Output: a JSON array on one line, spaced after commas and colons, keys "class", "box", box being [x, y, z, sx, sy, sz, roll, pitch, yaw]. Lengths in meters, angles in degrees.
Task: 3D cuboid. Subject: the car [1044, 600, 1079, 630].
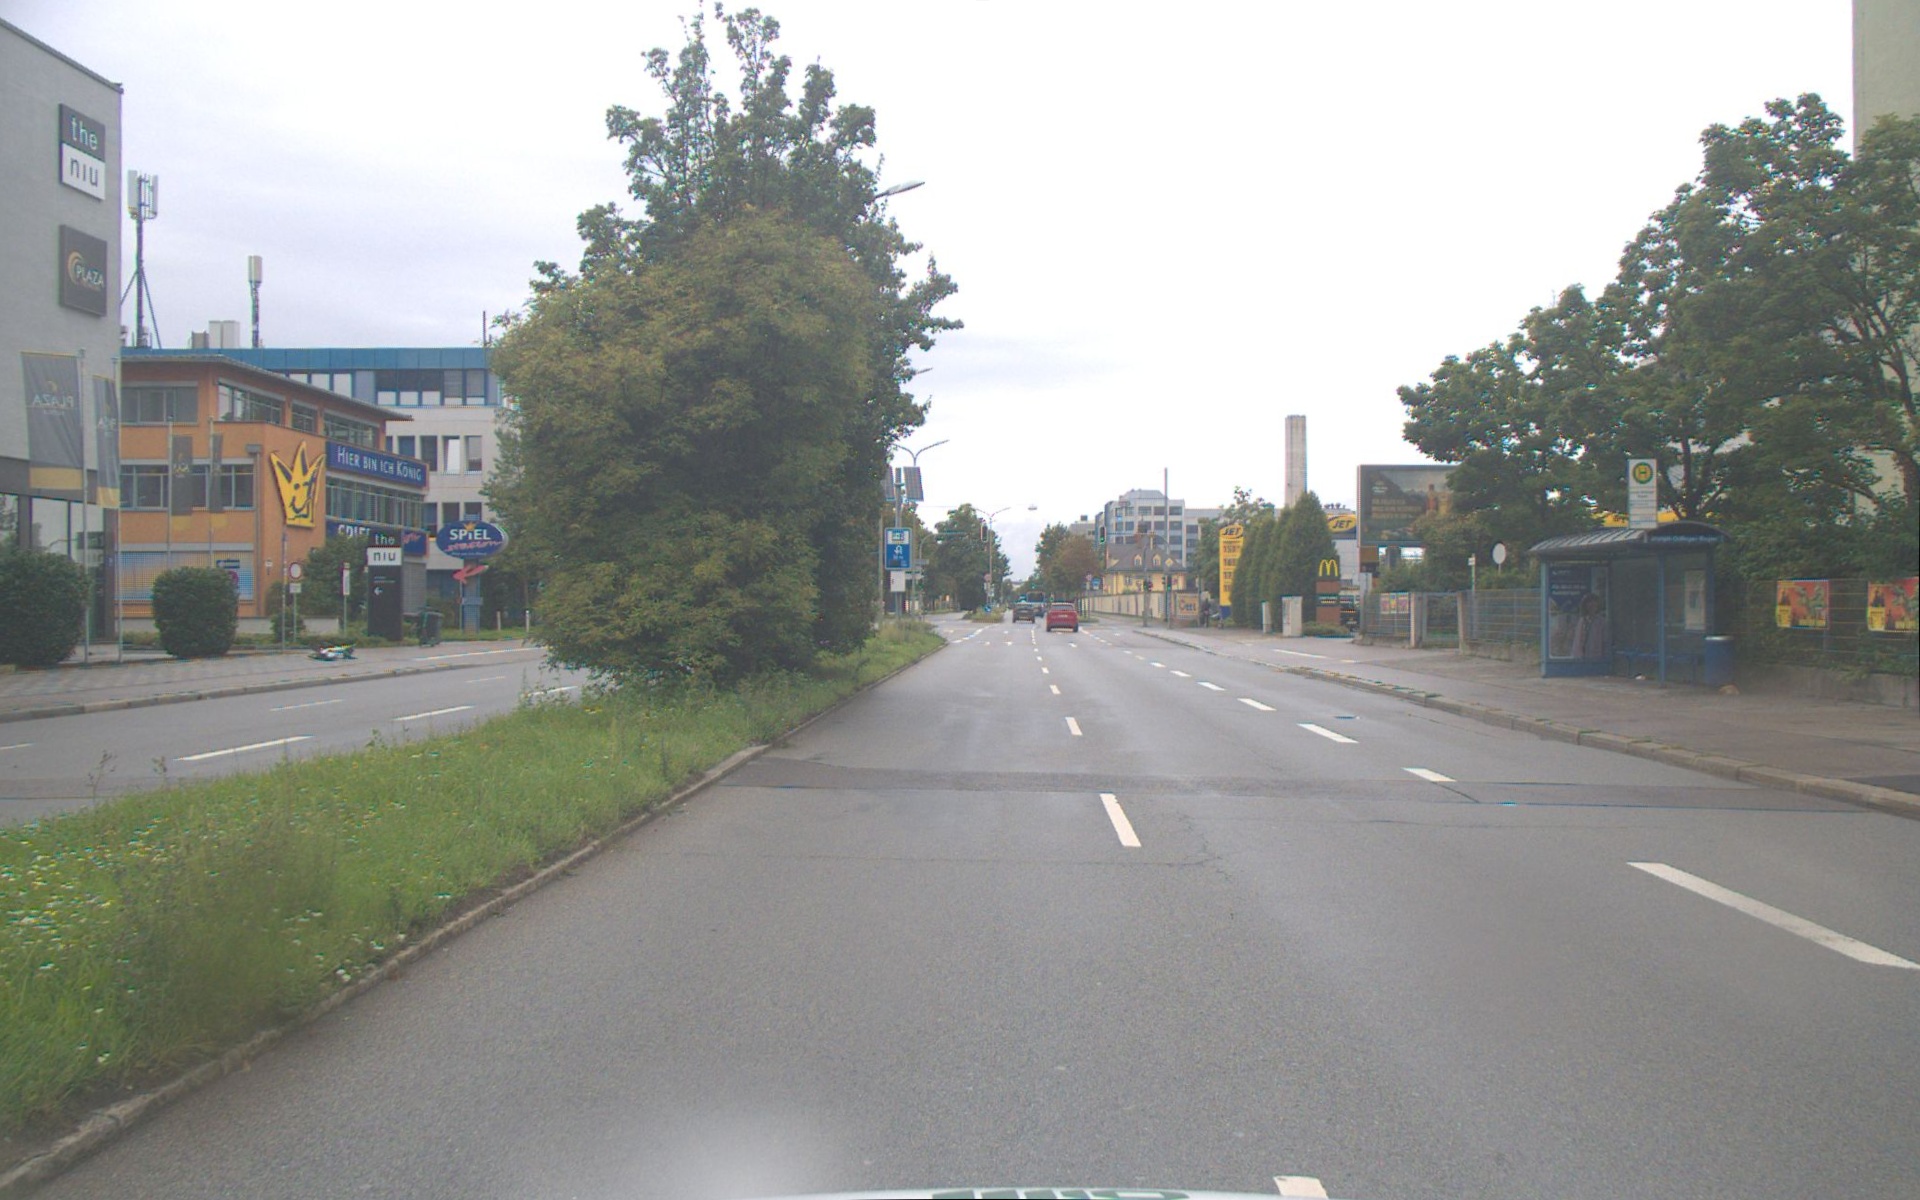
[{"class": "car", "box": [5.736, 0.846, 93.920, 1.823, 1.646, 4.000, 0, -1, 1]}]

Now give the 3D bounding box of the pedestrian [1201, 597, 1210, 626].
[{"class": "pedestrian", "box": [14.015, 0.645, 94.473, 0.473, 1.664, 0.591, 0, 0, 5]}]

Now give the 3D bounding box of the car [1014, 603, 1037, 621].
[{"class": "car", "box": [5.389, 0.984, 136.314, 1.766, 1.458, 4.000, 0, 0, 0]}]

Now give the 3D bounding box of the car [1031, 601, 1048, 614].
[{"class": "car", "box": [9.042, 0.885, 188.292, 1.766, 1.458, 4.000, 0, 0, 0]}]

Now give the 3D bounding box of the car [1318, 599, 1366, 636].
[{"class": "car", "box": [19.088, 0.853, 82.840, 1.717, 1.825, 4.002, 0, 0, 4]}]

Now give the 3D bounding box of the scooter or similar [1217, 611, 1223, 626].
[{"class": "scooter or similar", "box": [14.926, 1.057, 94.925, 0.171, 0.838, 0.778, 0, 0, 24]}]

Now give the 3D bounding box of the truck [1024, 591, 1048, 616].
[{"class": "truck", "box": [10.259, 0.466, 223.007, 2.908, 3.343, 7.915, 0, 0, 0]}]

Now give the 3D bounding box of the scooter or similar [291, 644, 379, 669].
[{"class": "scooter or similar", "box": [-16.331, 1.486, 43.278, 1.438, 0.595, 2.319, -1, -3, -1]}]
